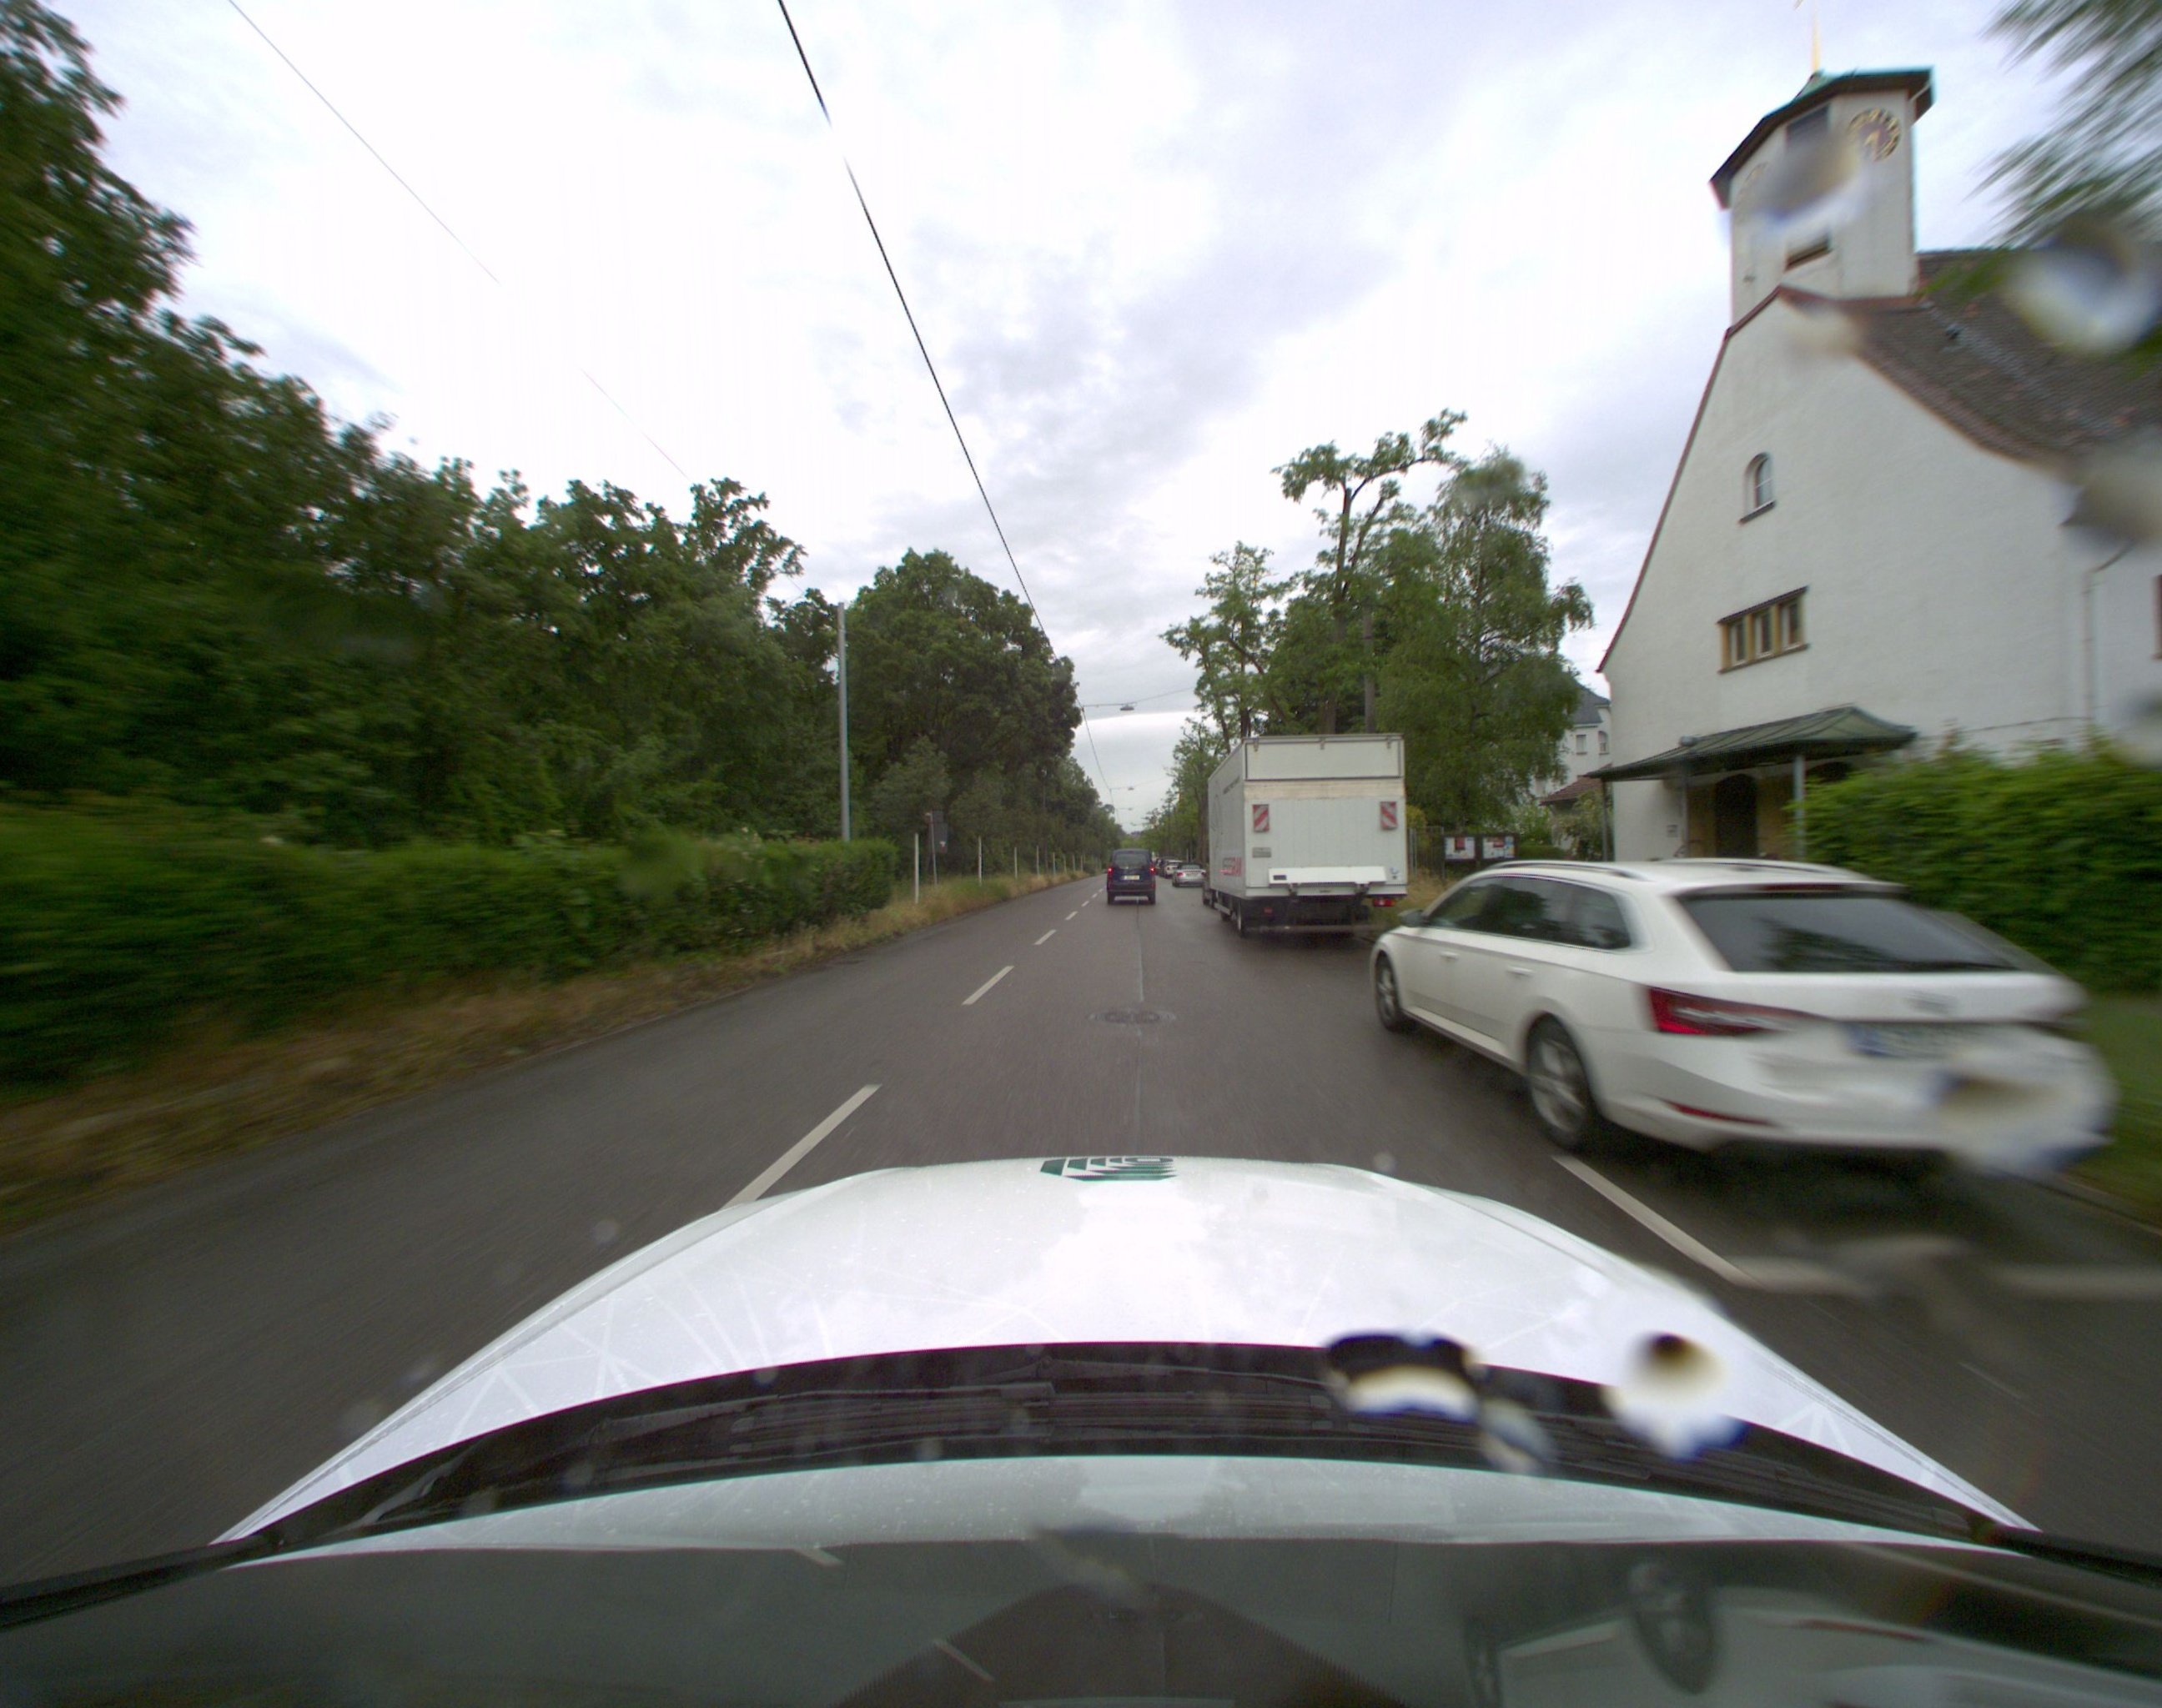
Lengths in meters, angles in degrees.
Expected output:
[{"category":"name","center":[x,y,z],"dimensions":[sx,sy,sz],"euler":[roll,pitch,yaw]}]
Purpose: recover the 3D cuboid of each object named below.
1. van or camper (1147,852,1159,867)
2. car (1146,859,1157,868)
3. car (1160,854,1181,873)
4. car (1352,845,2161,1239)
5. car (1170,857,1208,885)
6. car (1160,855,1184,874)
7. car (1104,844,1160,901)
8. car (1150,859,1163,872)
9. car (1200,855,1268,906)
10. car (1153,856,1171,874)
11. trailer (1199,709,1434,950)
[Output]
[{"category":"van or camper","center":[12.810,0.897,145.118],"dimensions":[2.069,2.650,5.351],"euler":[0,0,4]},{"category":"car","center":[11.904,1.667,137.498],"dimensions":[1.617,1.464,3.815],"euler":[0,0,7]},{"category":"car","center":[7.761,0.792,70.887],"dimensions":[1.671,1.555,4.080],"euler":[0,0,4]},{"category":"car","center":[3.337,0.711,5.356],"dimensions":[1.789,1.474,4.551],"euler":[0,0,3]},{"category":"car","center":[5.828,0.888,44.307],"dimensions":[1.775,1.395,4.003],"euler":[0,0,3]},{"category":"car","center":[7.355,0.833,65.949],"dimensions":[1.730,1.464,3.729],"euler":[0,0,4]},{"category":"car","center":[1.690,0.587,28.059],"dimensions":[1.760,1.830,3.542],"euler":[0,0,1]},{"category":"car","center":[11.478,1.741,124.062],"dimensions":[1.807,1.813,4.285],"euler":[1,0,2]},{"category":"car","center":[4.665,0.756,25.310],"dimensions":[1.634,1.464,4.004],"euler":[0,0,4]},{"category":"car","center":[9.398,1.272,95.112],"dimensions":[1.984,2.013,4.894],"euler":[0,0,4]},{"category":"trailer","center":[4.034,-0.347,16.051],"dimensions":[2.722,3.508,8.255],"euler":[0,0,4]}]
